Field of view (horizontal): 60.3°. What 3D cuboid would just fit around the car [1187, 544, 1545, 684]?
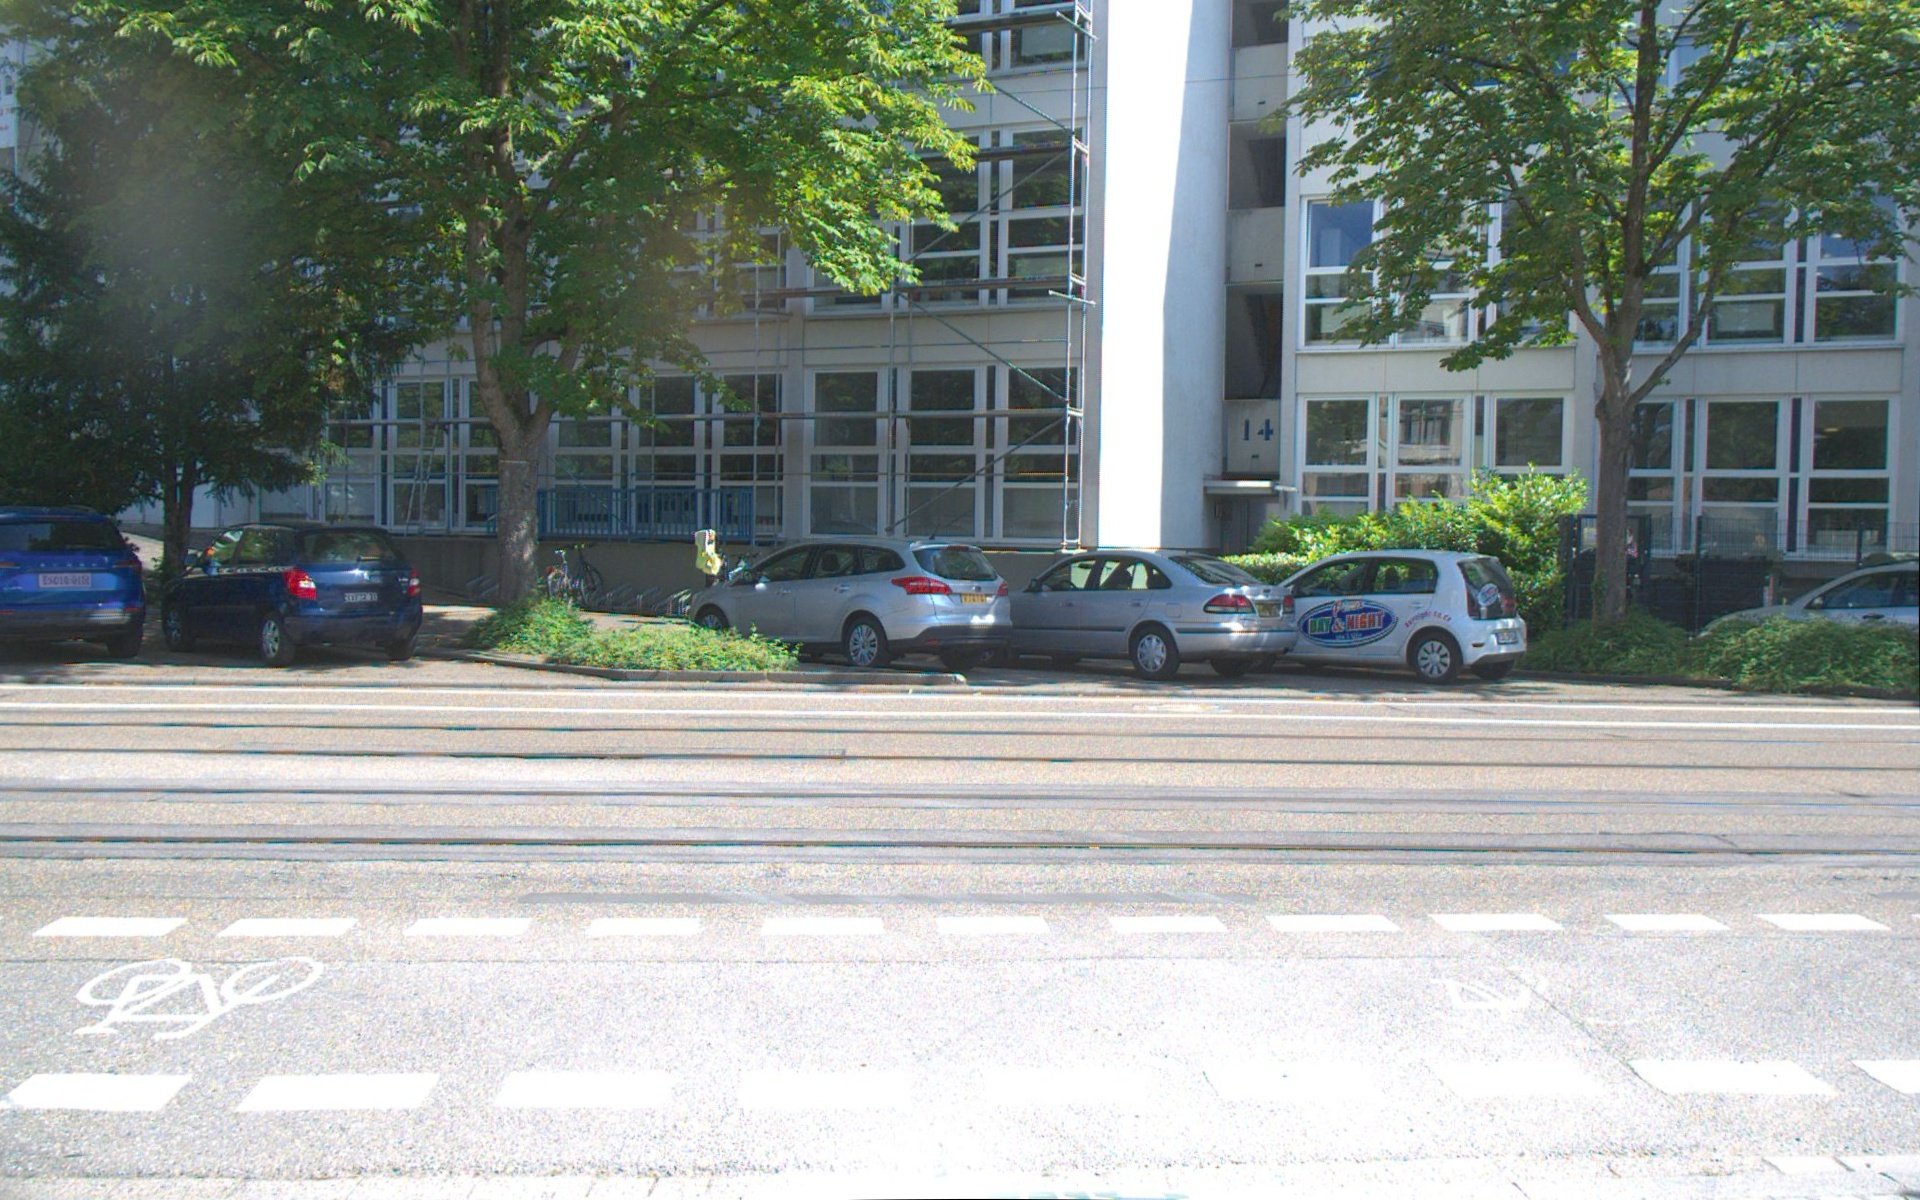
[{"bbox_3d":[4.769,0.100,19.751,3.876,1.512,1.603,1,2,43],"label":"car"}]

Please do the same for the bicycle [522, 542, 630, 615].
[{"bbox_3d":[-6.143,-0.366,26.592,0.725,1.104,2.205,1,2,15],"label":"bicycle"}]

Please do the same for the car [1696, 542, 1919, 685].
[{"bbox_3d":[11.422,0.154,20.102,4.262,1.632,1.551,2,2,39],"label":"car"}]

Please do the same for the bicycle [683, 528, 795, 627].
[{"bbox_3d":[-3.423,-0.366,25.835,0.648,1.478,2.088,2,2,27],"label":"bicycle"}]

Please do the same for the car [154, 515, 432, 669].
[{"bbox_3d":[-7.525,-0.147,18.543,3.396,1.557,1.567,3,3,42],"label":"car"}]

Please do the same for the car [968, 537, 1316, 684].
[{"bbox_3d":[2.049,0.047,19.339,3.878,1.511,1.602,3,3,44],"label":"car"}]

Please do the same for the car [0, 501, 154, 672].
[{"bbox_3d":[-10.531,-0.245,18.351,1.767,1.650,3.883,-2,5,-44],"label":"car"}]

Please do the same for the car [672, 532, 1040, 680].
[{"bbox_3d":[-1.306,-0.014,19.404,4.356,1.511,1.774,3,3,42],"label":"car"}]
